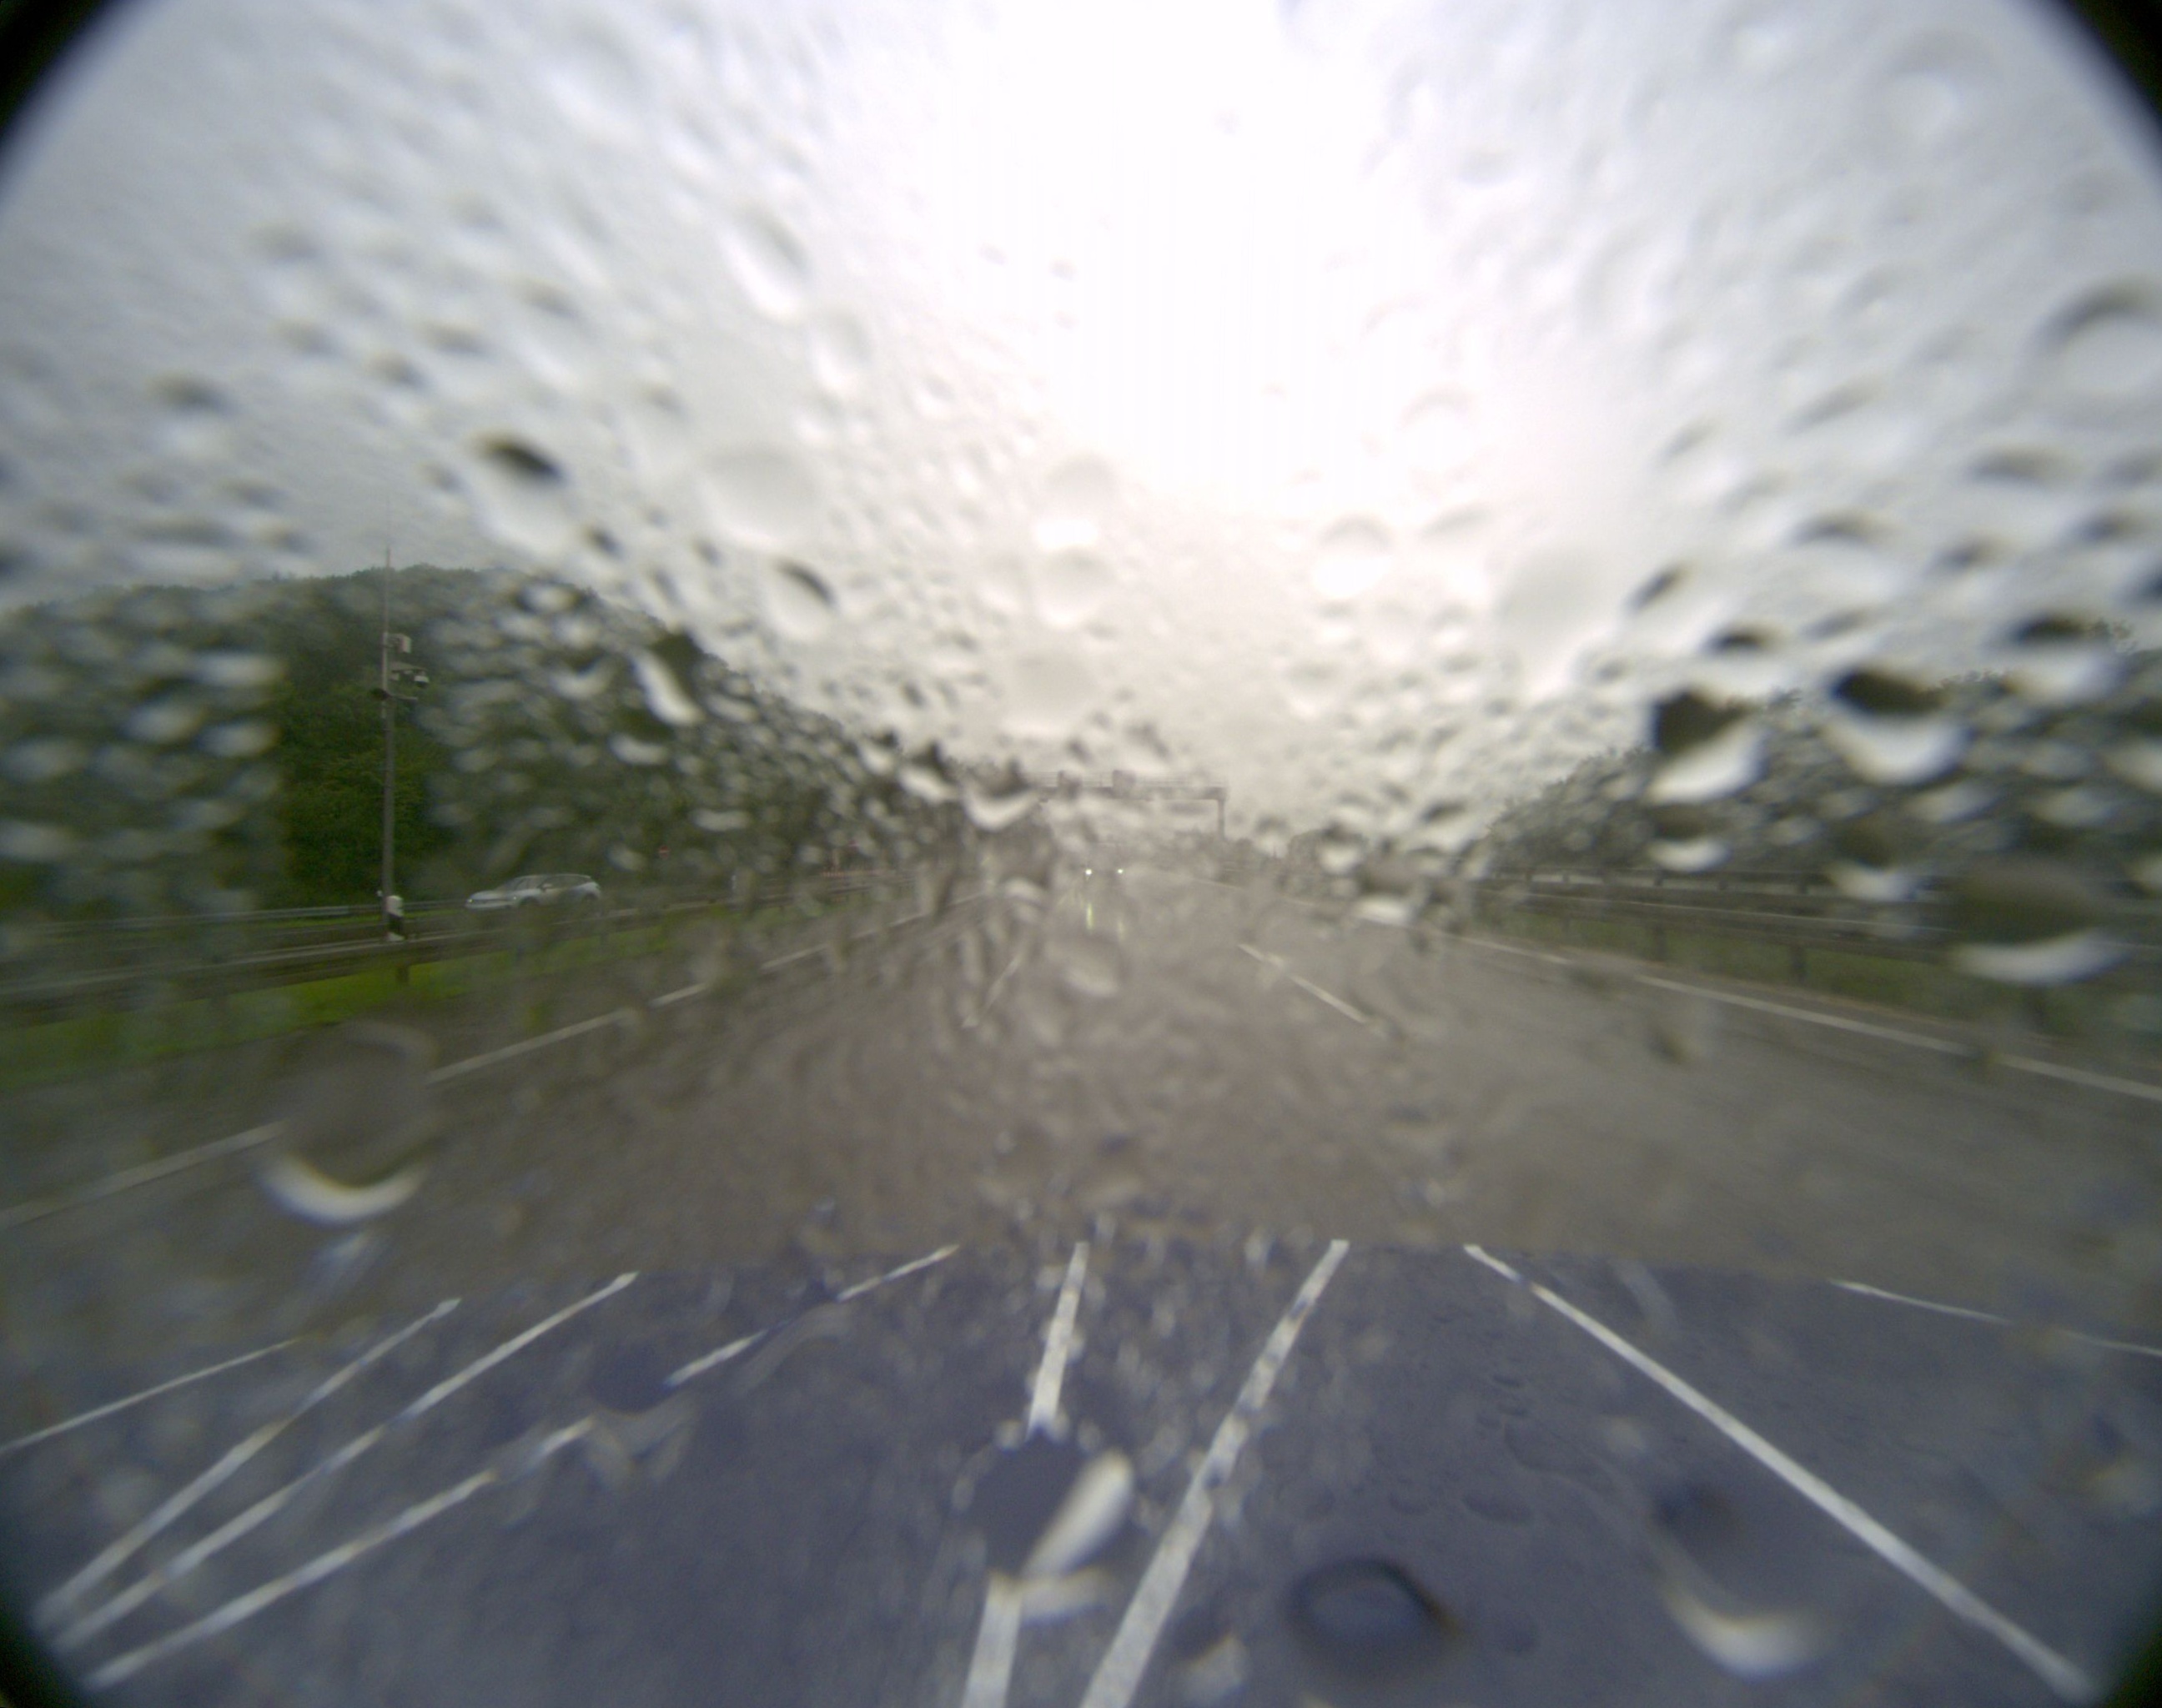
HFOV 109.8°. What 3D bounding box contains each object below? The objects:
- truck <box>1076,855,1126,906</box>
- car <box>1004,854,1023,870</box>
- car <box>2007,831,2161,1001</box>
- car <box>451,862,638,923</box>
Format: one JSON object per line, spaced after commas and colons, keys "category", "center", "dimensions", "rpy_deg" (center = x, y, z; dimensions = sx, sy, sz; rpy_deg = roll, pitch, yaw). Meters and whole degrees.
{"category": "truck", "center": [0.892, 1.093, 34.692], "dimensions": [1.998, 2.002, 7.576], "rpy_deg": [-1, 0, 1]}
{"category": "car", "center": [-9.065, 1.095, 102.364], "dimensions": [1.858, 2.002, 4.001], "rpy_deg": [-2, 0, 4]}
{"category": "car", "center": [15.529, 0.793, 8.669], "dimensions": [2.633, 2.215, 5.997], "rpy_deg": [-2, 0, 1]}
{"category": "car", "center": [-18.988, 1.281, 27.339], "dimensions": [1.997, 1.740, 5.666], "rpy_deg": [-2, 1, 10]}
